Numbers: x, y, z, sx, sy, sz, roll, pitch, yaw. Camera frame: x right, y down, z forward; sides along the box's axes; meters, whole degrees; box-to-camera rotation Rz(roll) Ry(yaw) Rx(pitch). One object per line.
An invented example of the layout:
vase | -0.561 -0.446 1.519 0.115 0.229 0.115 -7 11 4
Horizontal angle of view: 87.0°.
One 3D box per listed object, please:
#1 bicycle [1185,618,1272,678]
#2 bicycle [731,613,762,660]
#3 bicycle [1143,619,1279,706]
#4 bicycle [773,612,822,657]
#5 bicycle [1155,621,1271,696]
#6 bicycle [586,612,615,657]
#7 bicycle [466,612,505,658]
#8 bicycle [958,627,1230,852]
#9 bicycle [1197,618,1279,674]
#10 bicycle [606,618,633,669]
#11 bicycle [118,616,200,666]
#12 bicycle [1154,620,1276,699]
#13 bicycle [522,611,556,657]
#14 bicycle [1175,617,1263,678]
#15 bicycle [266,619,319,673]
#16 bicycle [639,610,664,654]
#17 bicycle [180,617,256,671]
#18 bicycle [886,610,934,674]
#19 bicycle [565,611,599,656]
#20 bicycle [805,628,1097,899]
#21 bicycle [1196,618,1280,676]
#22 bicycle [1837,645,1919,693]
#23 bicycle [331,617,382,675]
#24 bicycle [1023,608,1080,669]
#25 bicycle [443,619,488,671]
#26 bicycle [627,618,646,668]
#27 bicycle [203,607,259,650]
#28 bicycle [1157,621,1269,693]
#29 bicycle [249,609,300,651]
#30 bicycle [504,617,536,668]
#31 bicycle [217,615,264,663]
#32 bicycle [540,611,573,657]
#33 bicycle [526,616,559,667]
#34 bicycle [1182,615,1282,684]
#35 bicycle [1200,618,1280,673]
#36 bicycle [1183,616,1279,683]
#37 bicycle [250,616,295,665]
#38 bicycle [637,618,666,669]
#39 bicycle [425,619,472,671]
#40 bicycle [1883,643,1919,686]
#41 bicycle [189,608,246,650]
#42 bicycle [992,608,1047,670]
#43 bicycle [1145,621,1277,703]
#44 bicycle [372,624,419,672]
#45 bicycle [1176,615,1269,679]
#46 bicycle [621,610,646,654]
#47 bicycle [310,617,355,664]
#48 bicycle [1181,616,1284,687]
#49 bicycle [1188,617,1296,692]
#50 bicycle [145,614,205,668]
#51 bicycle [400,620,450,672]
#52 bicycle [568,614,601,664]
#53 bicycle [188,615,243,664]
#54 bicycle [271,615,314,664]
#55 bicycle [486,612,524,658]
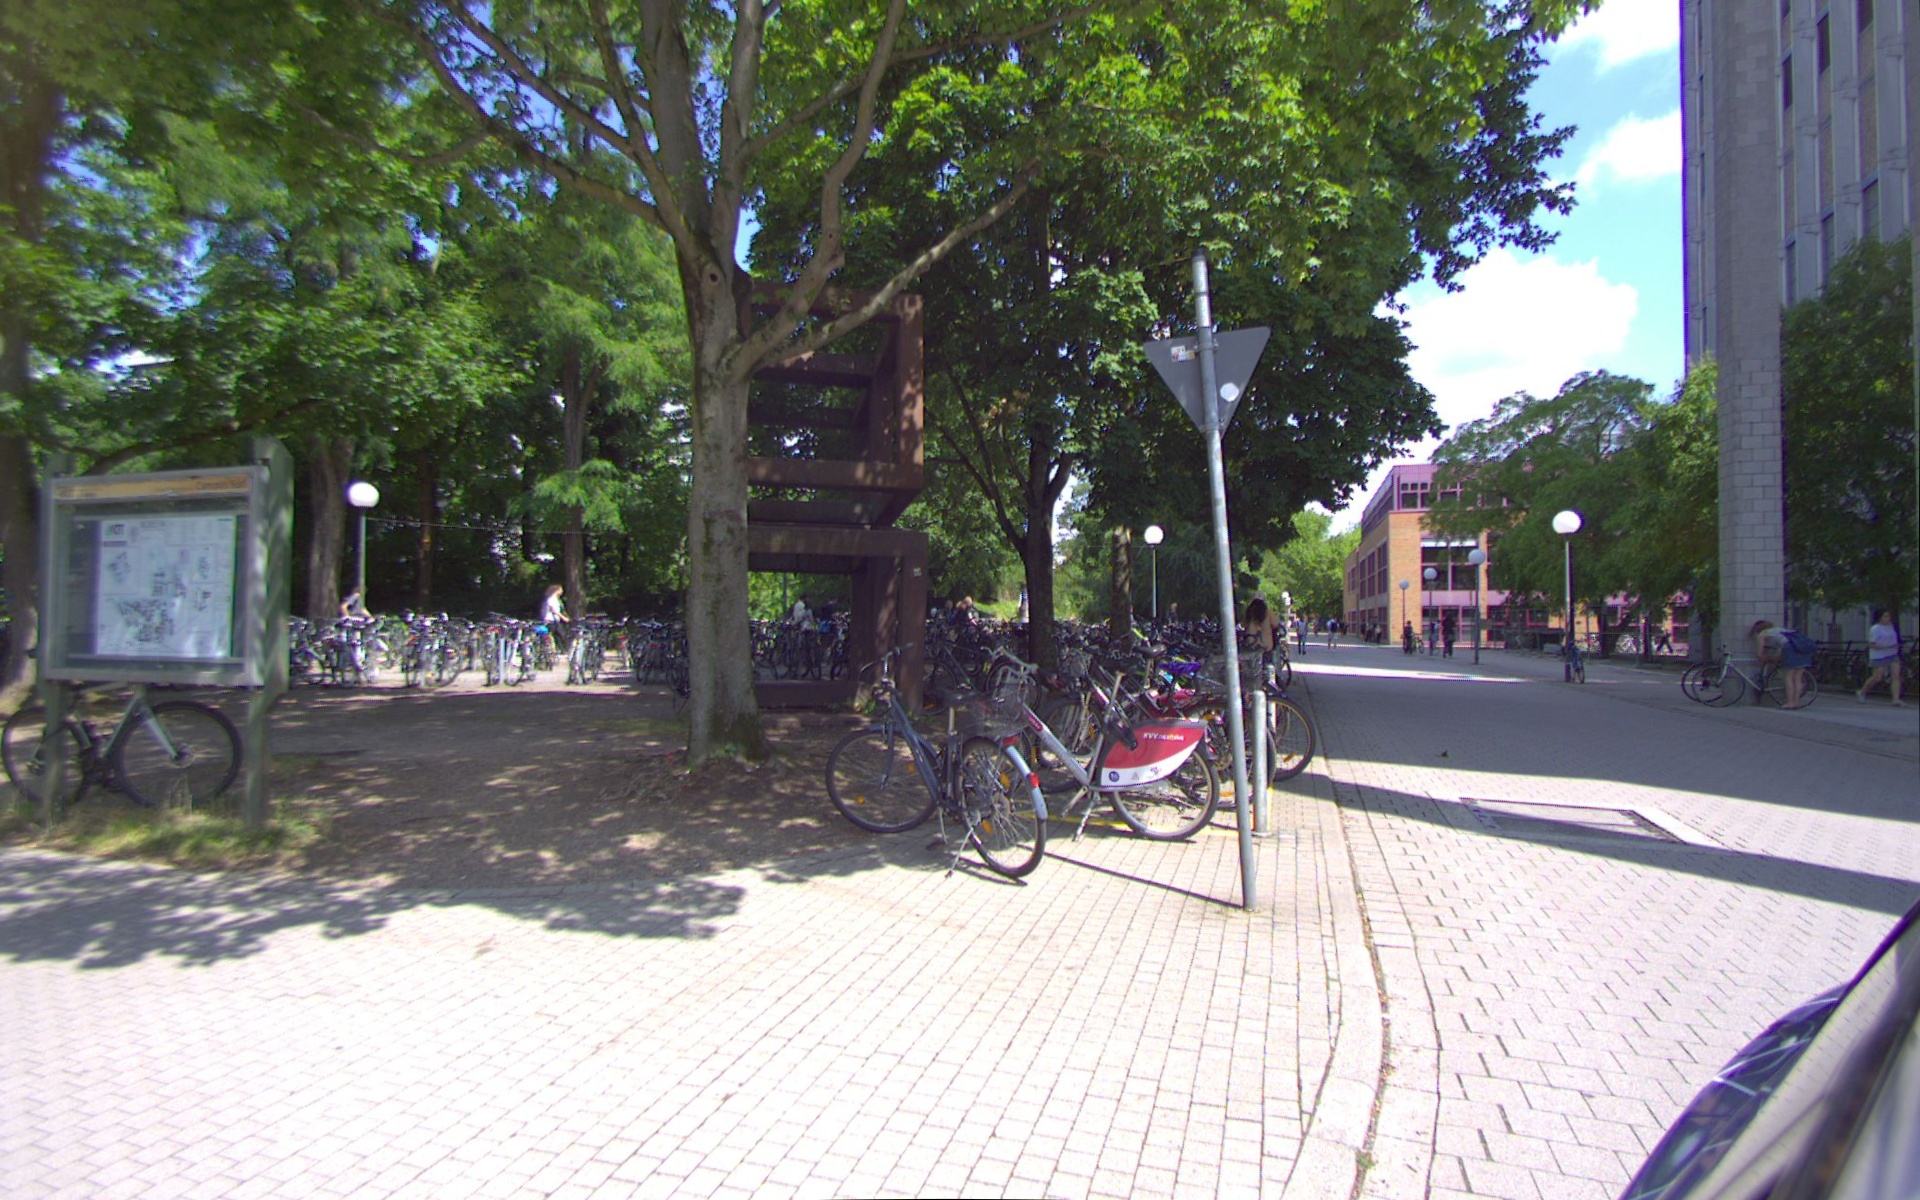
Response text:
bicycle | 5.461 0.977 20.640 1.663 1.144 0.452 1 -3 14
bicycle | -4.887 0.814 23.082 0.468 0.991 1.908 0 0 -19
bicycle | 3.266 0.806 13.270 1.670 1.061 0.566 1 -3 12
bicycle | -3.815 0.787 23.641 0.469 0.991 1.905 0 0 -30
bicycle | 3.848 0.880 15.452 1.663 1.061 0.615 1 -3 14
bicycle | -8.571 0.795 24.153 0.371 0.991 1.907 0 0 -11
bicycle | -10.986 0.780 23.481 0.371 0.991 1.907 0 0 -11
bicycle | 0.777 0.750 5.800 1.469 1.155 0.558 -1 0 17
bicycle | 5.934 0.976 21.659 1.663 1.144 0.476 1 -3 14
bicycle | -7.483 0.936 22.205 0.468 1.036 1.746 0 0 -22
bicycle | -17.583 0.877 22.265 0.433 0.991 1.906 0 0 -5
bicycle | 3.700 0.857 14.748 1.663 1.061 0.615 1 -3 14
bicycle | -9.881 0.778 23.811 0.371 0.991 1.907 0 0 -11
bicycle | 5.153 0.940 20.204 1.663 1.144 0.452 1 -3 14
bicycle | -13.521 0.906 20.550 0.468 0.991 1.908 0 0 -20
bicycle | -7.476 0.751 24.560 0.371 0.991 1.907 0 0 -11
bicycle | -14.871 0.857 20.322 0.468 0.991 1.907 0 0 -11
bicycle | -1.001 0.803 19.867 0.405 1.185 1.849 1 0 -20
bicycle | -8.974 0.784 24.081 0.468 0.991 1.907 0 0 -11
bicycle | -0.123 0.759 5.434 0.595 1.155 1.784 -1 1 -38
bicycle | 5.780 0.977 21.096 1.663 1.144 0.476 1 -3 14
bicycle | 18.038 1.322 19.584 0.633 0.769 1.985 1 0 9
bicycle | -12.432 0.917 20.890 0.468 1.096 1.908 0 0 -17
bicycle | 1.848 0.759 20.741 0.405 1.185 1.849 1 0 -20
bicycle | -10.366 0.915 21.242 0.371 0.991 1.907 0 0 -11
bicycle | -7.159 0.931 22.380 0.287 1.036 1.746 0 0 -22
bicycle | -20.129 0.773 27.972 0.469 1.107 1.755 0 0 -7
bicycle | 3.990 0.892 16.014 1.663 1.061 0.499 1 -3 14
bicycle | -19.167 0.818 28.327 0.341 1.107 1.611 0 0 0
bicycle | -9.252 0.872 21.267 0.371 0.991 1.905 0 0 -31
bicycle | -16.098 0.849 22.684 0.370 0.991 1.908 0 0 -20
bicycle | -9.465 0.782 23.773 0.371 0.991 1.907 0 0 -11
bicycle | -8.877 0.862 21.500 0.371 0.991 1.905 0 0 -31
bicycle | 4.805 0.870 17.938 1.663 1.144 0.452 1 -3 14
bicycle | 6.142 0.991 22.236 1.663 1.144 0.476 1 -3 14
bicycle | 4.938 0.901 18.506 1.663 1.144 0.452 1 -3 14
bicycle | -15.219 0.869 22.421 0.370 0.991 1.908 0 0 -20
bicycle | -6.805 0.935 22.275 0.468 1.036 1.746 0 0 -22
bicycle | -10.688 0.916 21.187 0.371 0.991 1.907 0 0 -11
bicycle | 18.748 1.269 19.326 0.633 0.769 1.985 1 0 9
bicycle | -20.468 0.775 27.927 0.469 1.107 1.755 0 0 -7
bicycle | 1.189 0.771 20.492 0.405 1.185 1.849 1 0 -20
bicycle | 3.483 0.845 14.048 1.680 1.061 0.611 0 -3 27
bicycle | -12.882 1.077 23.118 0.371 0.991 1.907 0 0 -11
bicycle | 4.937 0.877 19.106 1.663 1.144 0.452 1 -3 14
bicycle | -7.883 0.744 24.482 0.371 0.991 1.907 0 0 -11
bicycle | -14.178 0.894 22.896 0.468 0.991 1.908 0 0 -20
bicycle | 4.651 0.872 17.308 1.663 1.144 0.452 1 -3 14
bicycle | 4.561 0.881 16.445 1.663 1.144 0.452 1 -3 14
bicycle | -15.871 0.804 20.485 0.468 0.991 1.907 0 0 -22
bicycle | -11.059 0.930 20.961 0.371 0.991 1.907 0 0 -11
bicycle | -8.089 0.823 21.773 0.371 0.991 1.906 0 0 -29
bicycle | -16.478 0.851 22.426 0.468 0.991 1.908 0 0 -20
bicycle | -14.815 0.852 22.496 0.370 0.991 1.908 0 0 -20
bicycle | -10.543 0.793 23.493 0.371 0.991 1.907 0 0 -11
